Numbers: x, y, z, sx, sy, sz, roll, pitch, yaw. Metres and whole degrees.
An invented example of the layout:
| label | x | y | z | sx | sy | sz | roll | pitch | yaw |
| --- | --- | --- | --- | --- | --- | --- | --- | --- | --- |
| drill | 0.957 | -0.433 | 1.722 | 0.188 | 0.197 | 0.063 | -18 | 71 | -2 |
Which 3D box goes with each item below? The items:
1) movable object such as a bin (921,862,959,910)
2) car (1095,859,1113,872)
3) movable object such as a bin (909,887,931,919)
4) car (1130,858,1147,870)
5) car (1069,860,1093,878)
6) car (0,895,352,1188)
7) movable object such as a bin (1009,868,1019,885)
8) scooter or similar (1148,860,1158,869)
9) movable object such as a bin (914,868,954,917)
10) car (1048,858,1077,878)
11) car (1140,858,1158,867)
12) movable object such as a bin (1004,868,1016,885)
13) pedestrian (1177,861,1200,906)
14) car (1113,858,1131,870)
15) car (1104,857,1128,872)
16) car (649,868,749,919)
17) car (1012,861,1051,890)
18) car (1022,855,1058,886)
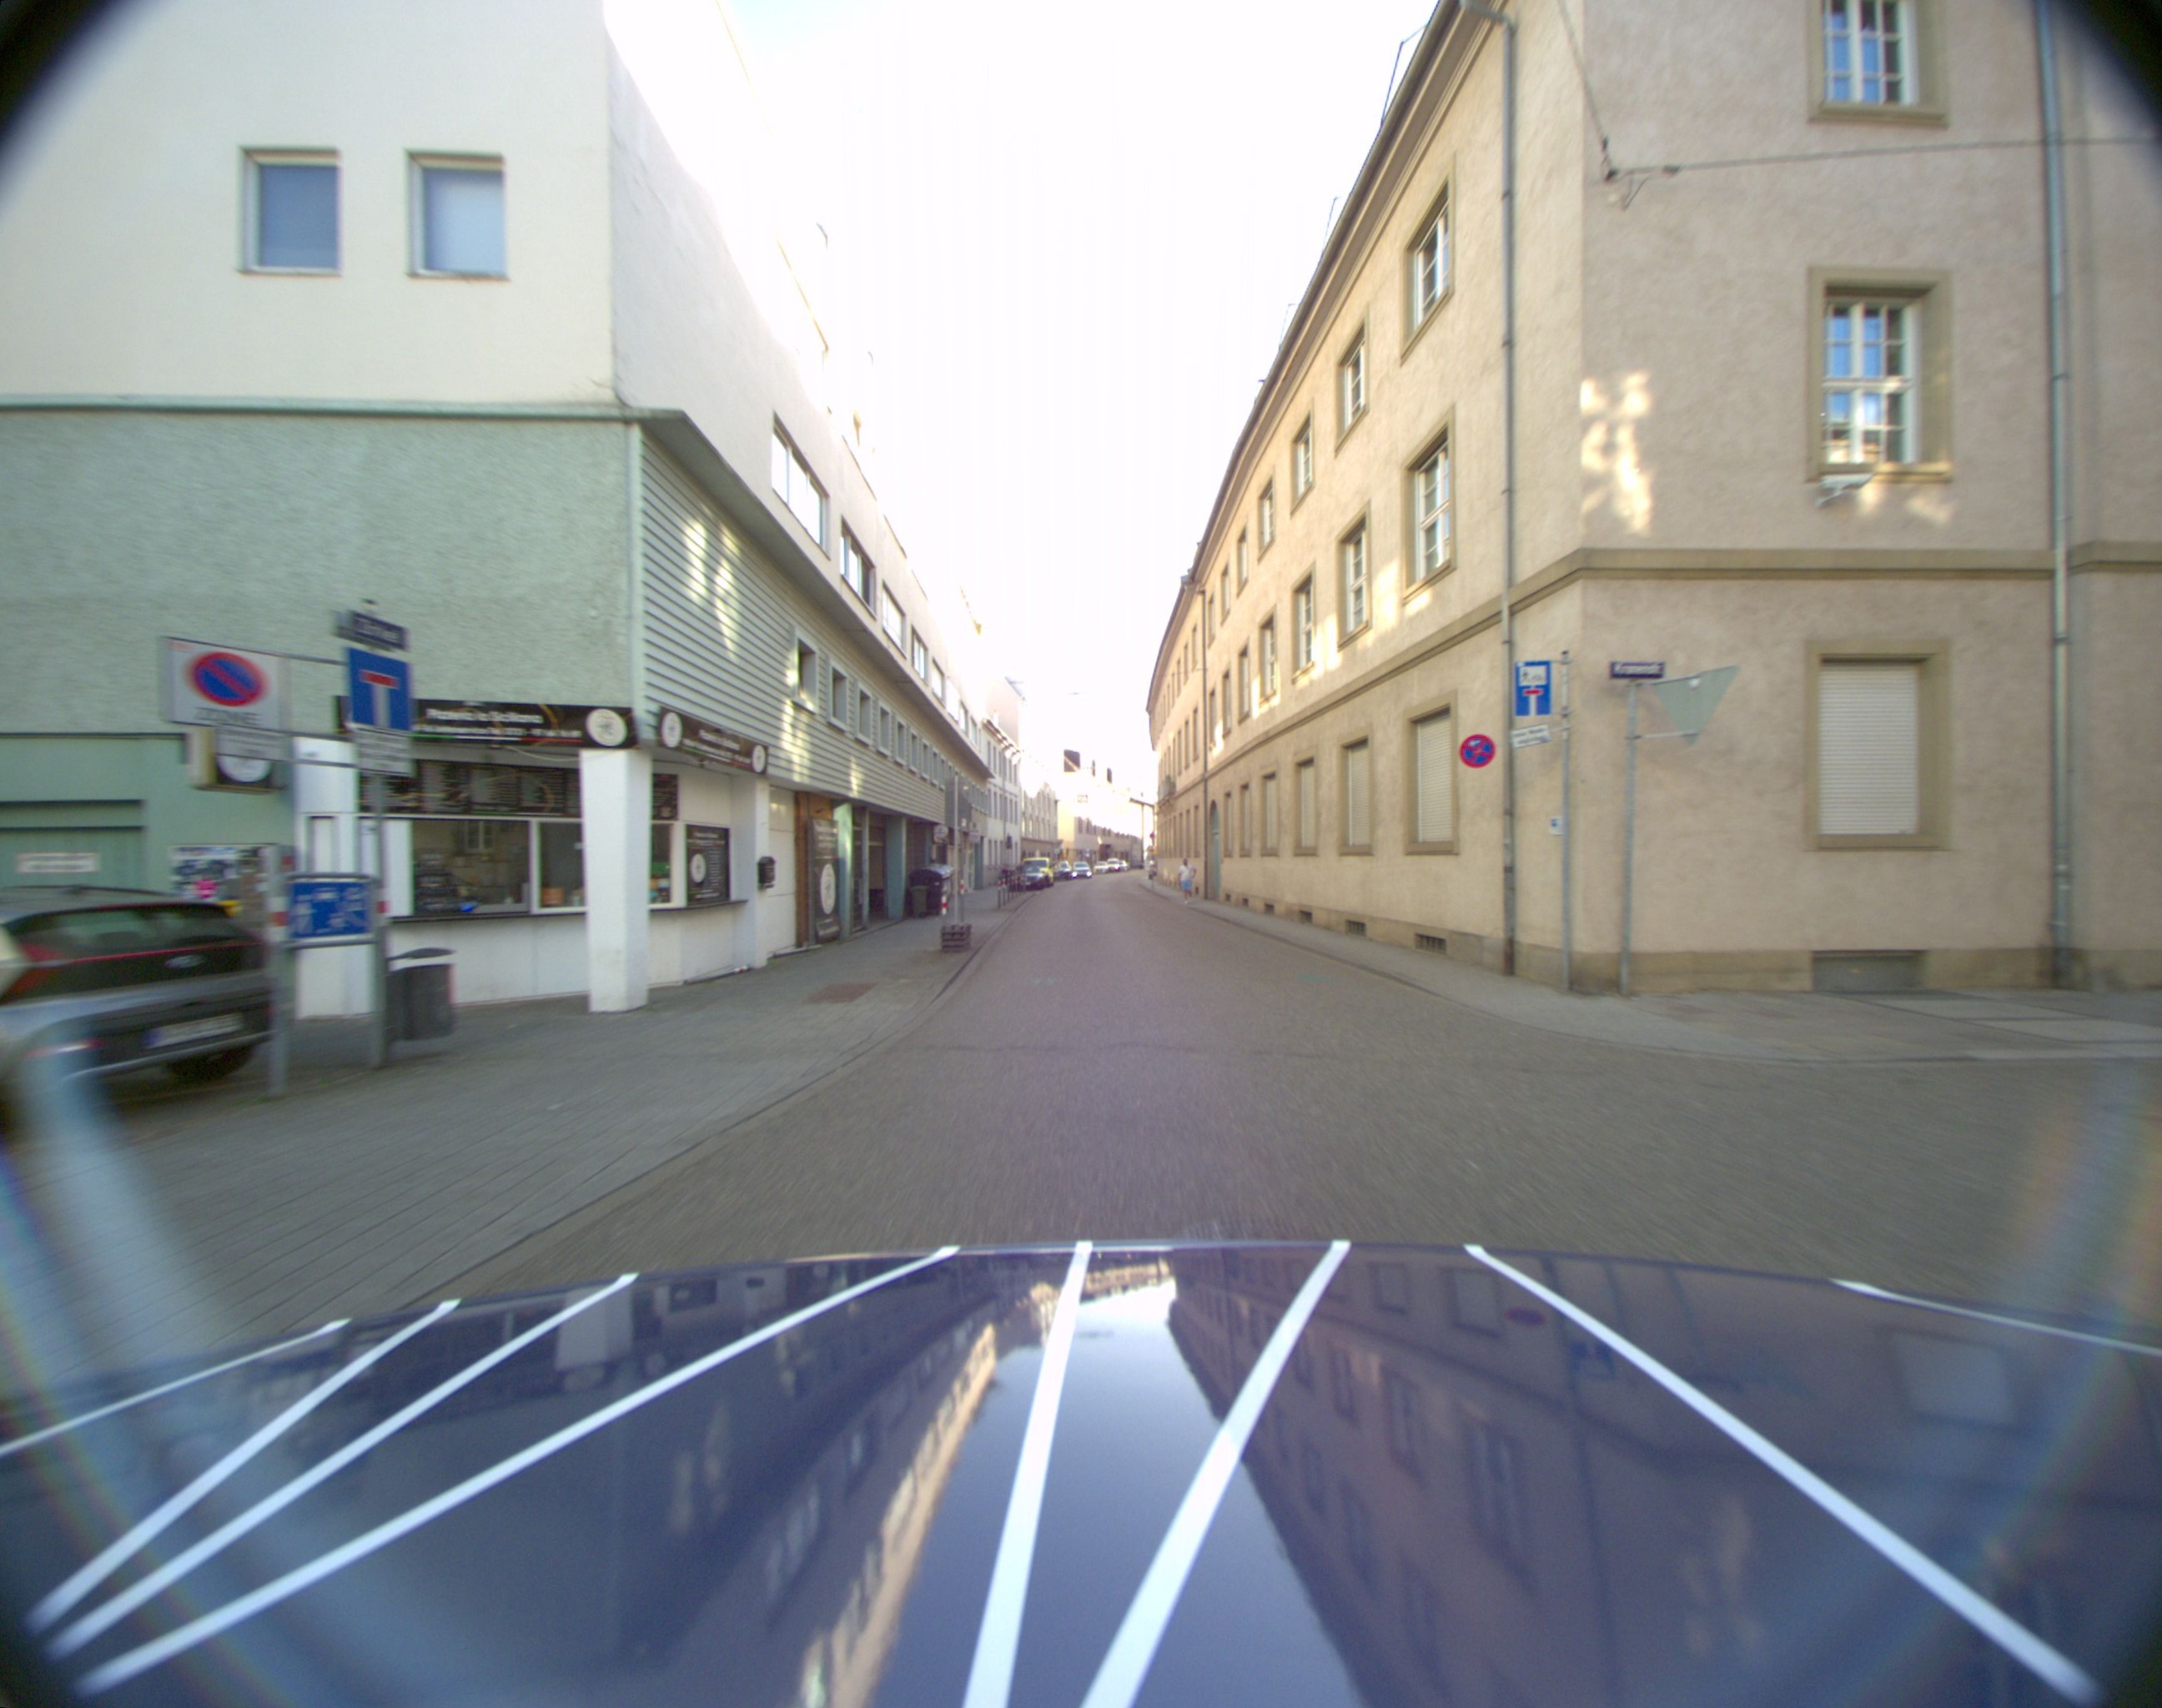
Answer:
| label | x | y | z | sx | sy | sz | roll | pitch | yaw |
| --- | --- | --- | --- | --- | --- | --- | --- | --- | --- |
| movable object such as a bin | -4.636 | 1.035 | 25.047 | 0.983 | 1.472 | 1.551 | 0 | 2 | -1 |
| car | 2.865 | 1.468 | 95.931 | 1.734 | 1.539 | 4.003 | -2 | -1 | 9 |
| movable object such as a bin | -4.763 | 1.447 | 22.477 | 0.558 | 0.894 | 0.523 | 0 | 2 | -1 |
| car | 8.939 | 1.509 | 117.410 | 1.774 | 1.574 | 3.861 | -5 | -1 | 15 |
| car | 0.042 | 1.422 | 71.479 | 1.829 | 1.550 | 3.988 | -2 | 0 | 5 |
| car | -7.735 | 1.085 | 4.923 | 4.089 | 1.473 | 1.865 | -1 | 0 | -3 |
| movable object such as a bin | -4.530 | 1.512 | 51.397 | 0.628 | 1.045 | 0.708 | 4 | 0 | -3 |
| scooter or similar | 9.166 | 1.344 | 96.191 | 1.303 | 1.217 | 0.467 | 1 | 0 | -42 |
| movable object such as a bin | -4.507 | 1.171 | 23.416 | 0.983 | 1.377 | 1.320 | 0 | 2 | -1 |
| car | -1.534 | 1.161 | 65.273 | 1.829 | 1.645 | 4.496 | -2 | 0 | 6 |
| car | 11.451 | 1.361 | 127.776 | 1.963 | 1.400 | 4.202 | -3 | 0 | 17 |
| movable object such as a bin | -4.727 | 1.493 | 50.606 | 0.607 | 1.045 | 0.708 | 4 | 0 | 1 |
| pedestrian | 4.115 | 1.105 | 29.039 | 0.694 | 1.660 | 0.875 | -3 | 1 | 1 |
| car | 5.863 | 1.429 | 107.803 | 1.774 | 1.574 | 3.860 | -5 | -1 | 14 |
| car | 4.710 | 1.399 | 101.764 | 1.946 | 1.850 | 5.200 | -5 | -1 | 14 |
| car | -11.947 | 1.183 | 23.984 | 1.587 | 1.460 | 3.397 | 0 | 0 | -3 |
| car | -2.796 | 1.190 | 43.603 | 1.888 | 1.480 | 4.368 | -2 | 0 | 0 |
| car | -2.594 | 1.017 | 49.168 | 1.888 | 1.871 | 4.846 | -2 | 0 | 2 |
